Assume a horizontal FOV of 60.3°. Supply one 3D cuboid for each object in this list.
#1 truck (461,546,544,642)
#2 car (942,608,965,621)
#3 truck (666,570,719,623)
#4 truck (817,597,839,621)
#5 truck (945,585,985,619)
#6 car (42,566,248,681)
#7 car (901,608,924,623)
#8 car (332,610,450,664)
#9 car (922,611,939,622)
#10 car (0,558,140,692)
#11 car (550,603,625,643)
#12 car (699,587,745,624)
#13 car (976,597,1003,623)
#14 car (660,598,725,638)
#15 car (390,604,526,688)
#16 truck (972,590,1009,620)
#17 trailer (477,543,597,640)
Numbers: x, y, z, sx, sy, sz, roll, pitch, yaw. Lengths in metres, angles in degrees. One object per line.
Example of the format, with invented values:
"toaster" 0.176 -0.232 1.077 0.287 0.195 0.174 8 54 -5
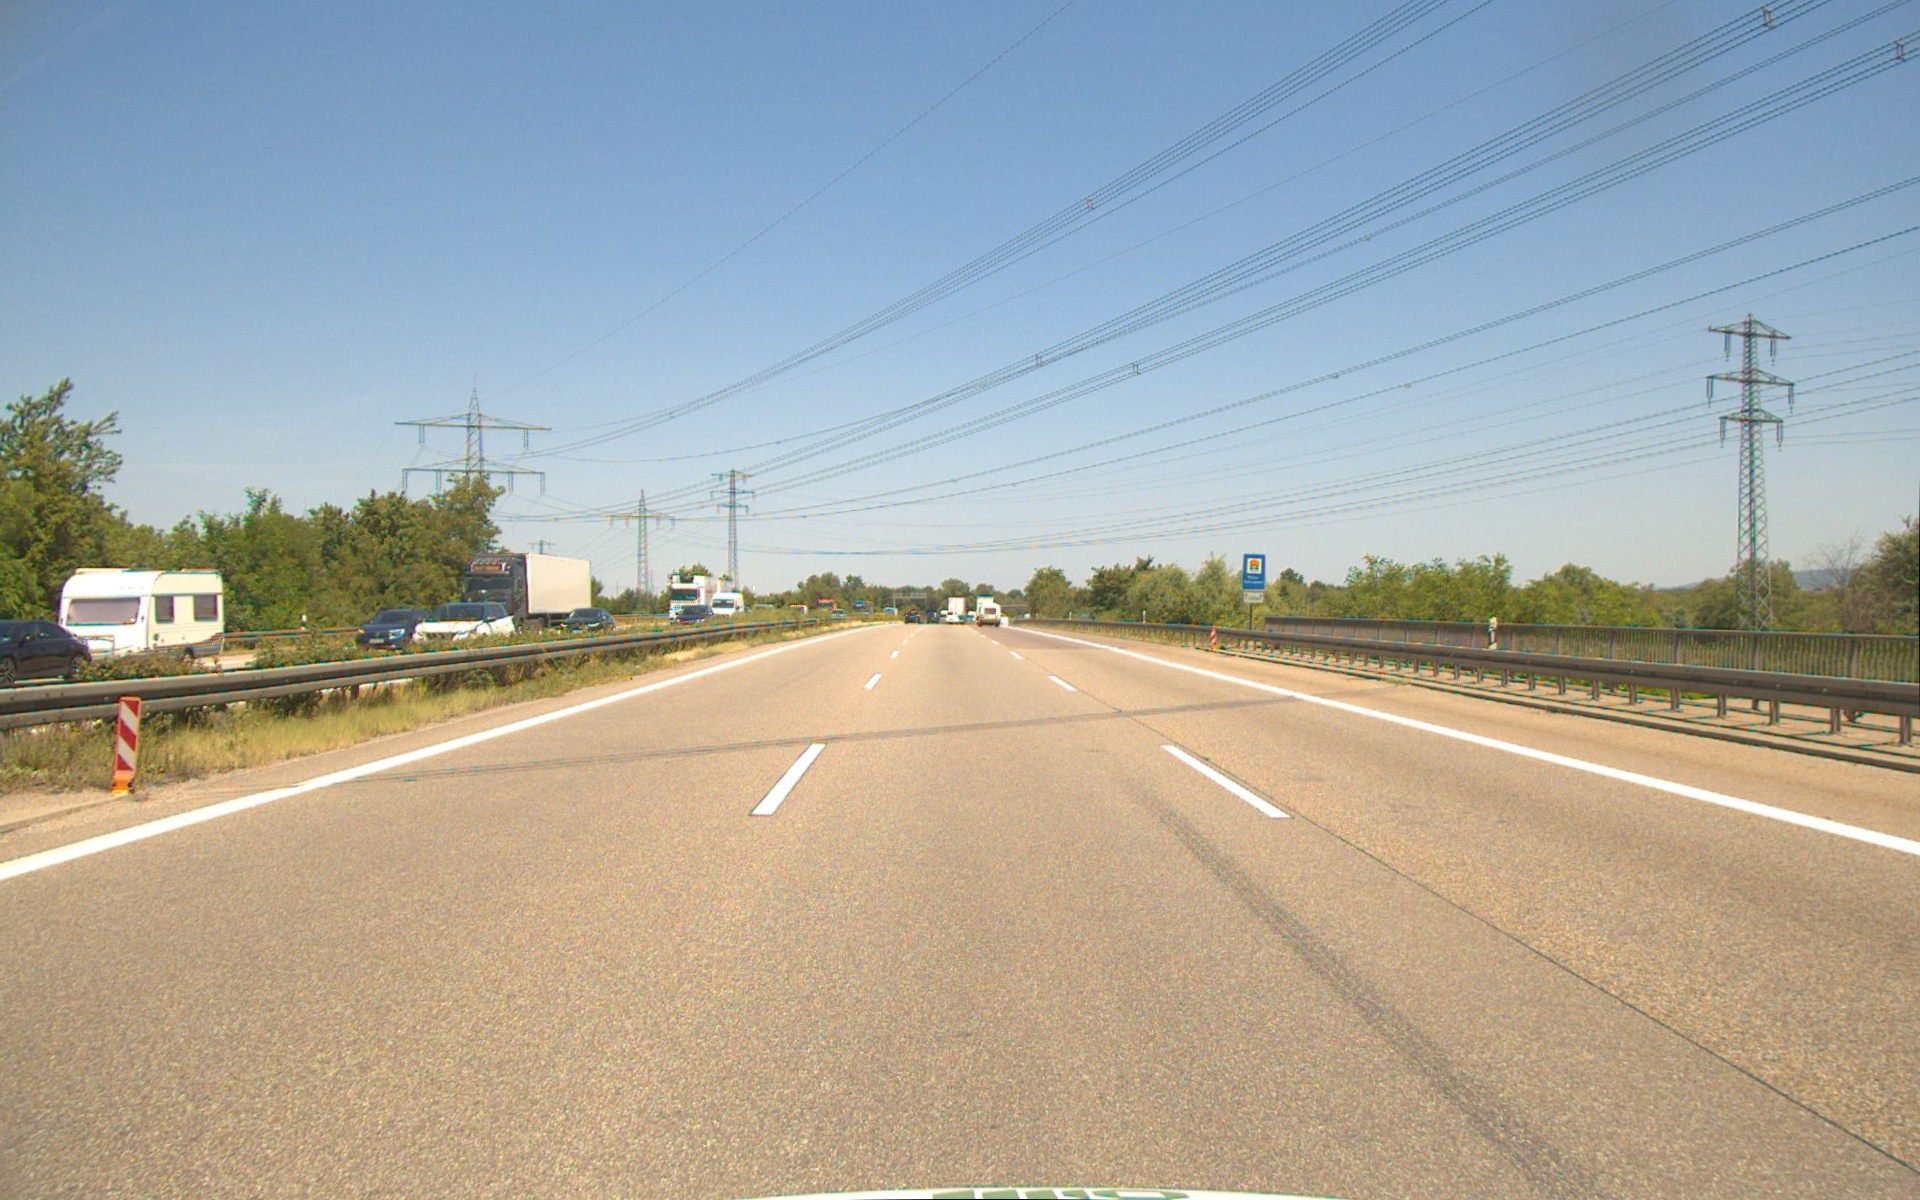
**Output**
"truck" -20.820 -0.263 75.438 2.374 4.183 4.919 1 0 -1
"car" -0.769 1.772 201.045 1.789 1.574 4.322 2 0 14
"truck" -21.537 -0.292 133.624 2.637 4.019 10.591 1 0 -1
"truck" -20.715 1.433 260.476 2.714 3.588 8.532 1 0 0
"truck" 0.802 0.324 256.853 3.588 5.106 16.030 1 0 9
"car" -20.224 0.541 41.418 2.369 2.660 5.715 -1 0 -1
"car" -5.407 1.757 188.376 1.789 1.574 4.322 2 0 9
"car" -19.501 1.233 56.919 2.432 1.665 4.749 -2 0 -1
"car" -4.330 2.514 245.228 1.789 1.574 4.322 2 0 9
"car" -20.249 0.509 35.589 2.369 2.660 5.715 -1 0 -1
"car" -16.872 1.023 75.227 2.338 1.669 4.819 1 0 -1
"car" -17.806 0.400 124.243 2.432 2.625 7.120 1 0 -1
"car" 2.757 0.944 155.607 2.392 2.362 5.320 0 0 -1
"car" -13.732 0.893 85.339 2.432 1.965 5.738 1 0 -1
"car" -13.339 1.180 44.267 2.251 2.049 4.556 1 0 -1
"truck" 4.815 0.752 254.186 3.113 4.380 16.030 1 0 10
"trailer" -20.918 -0.399 82.808 2.374 4.364 14.430 1 0 -1
